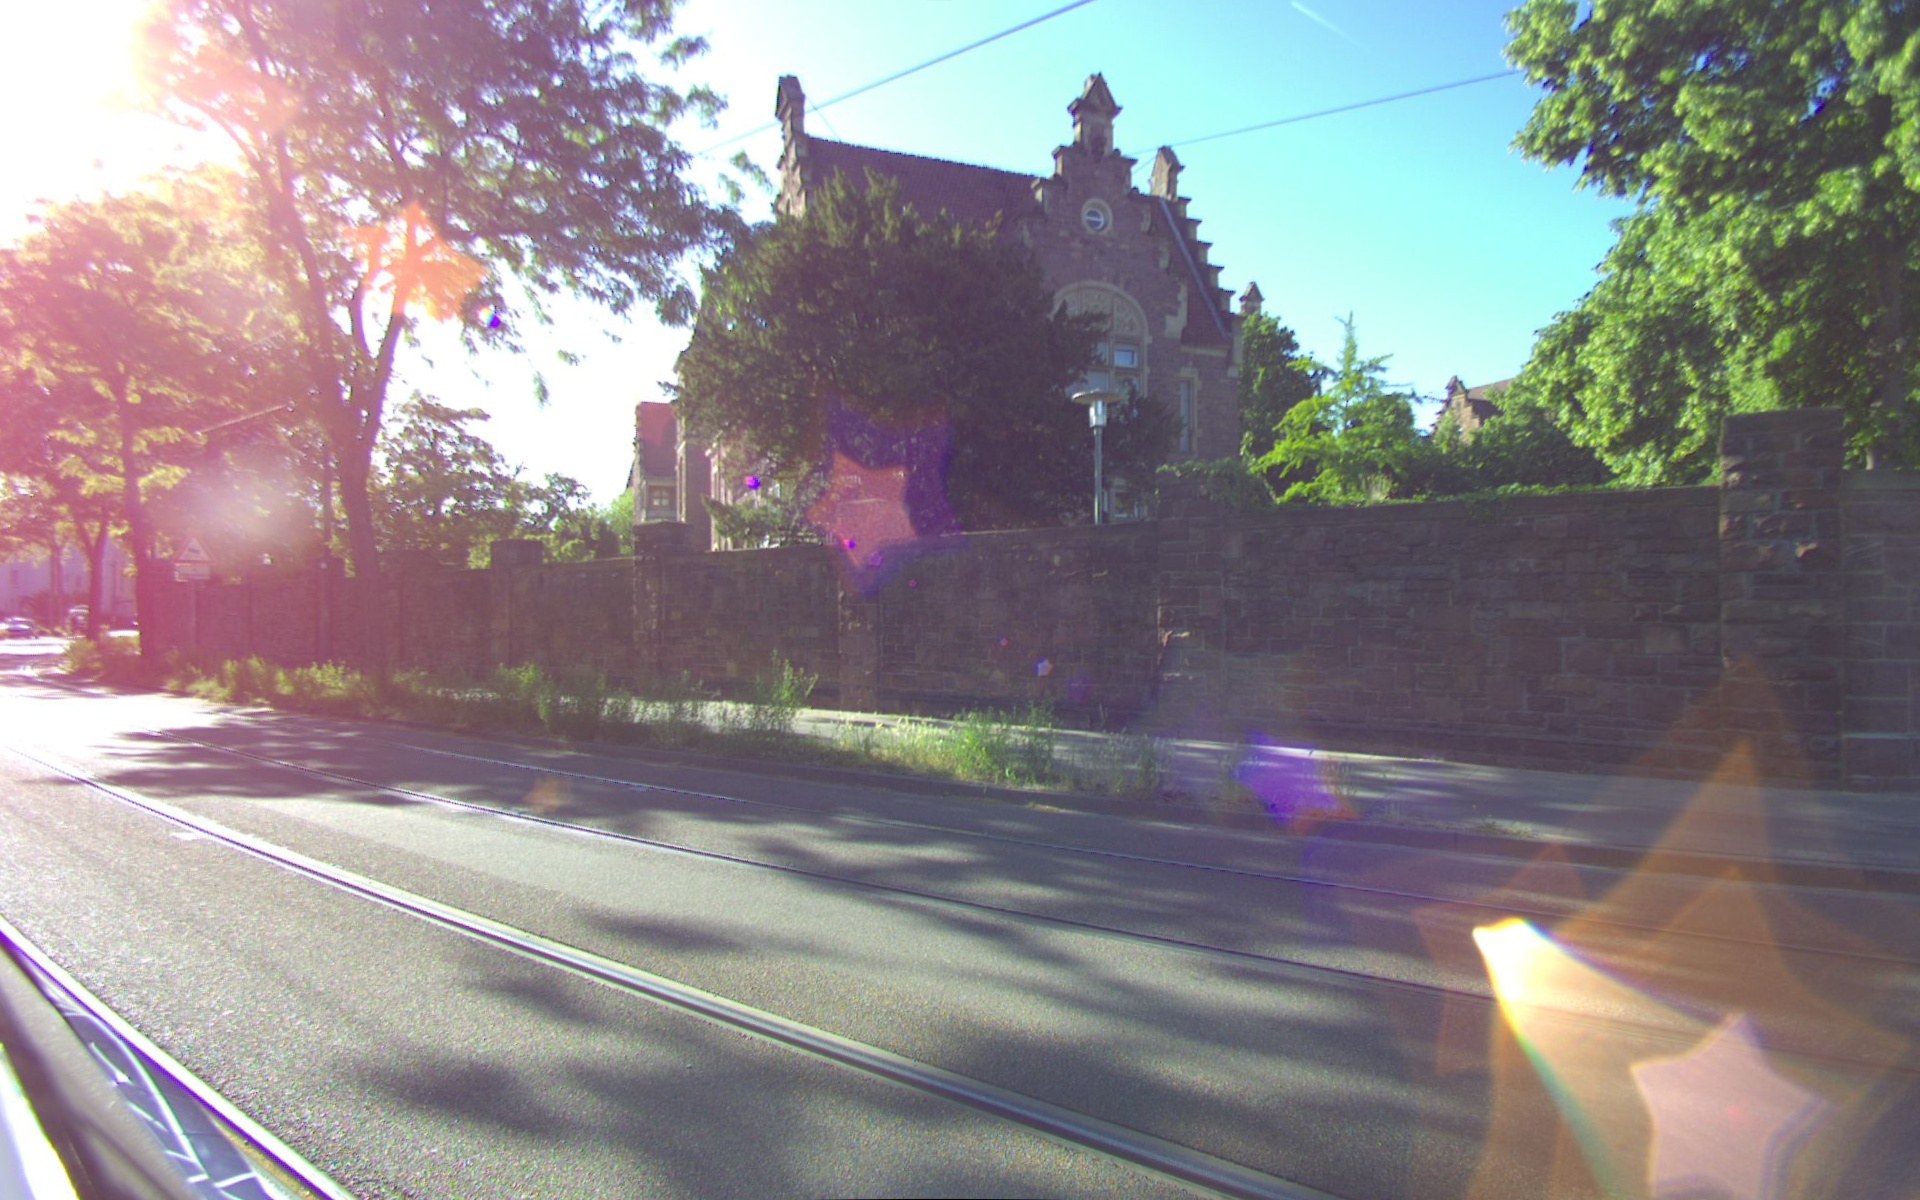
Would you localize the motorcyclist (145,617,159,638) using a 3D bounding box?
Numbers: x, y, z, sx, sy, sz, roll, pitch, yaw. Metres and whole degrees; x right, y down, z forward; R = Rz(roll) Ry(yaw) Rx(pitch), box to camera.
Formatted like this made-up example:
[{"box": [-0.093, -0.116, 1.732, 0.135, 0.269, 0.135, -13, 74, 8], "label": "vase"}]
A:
[{"box": [-55.457, 1.863, 69.466, 0.674, 1.451, 0.448, 0, -1, -32], "label": "motorcyclist"}]

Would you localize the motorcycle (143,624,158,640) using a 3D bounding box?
[{"box": [-55.404, 2.190, 69.297, 0.601, 1.101, 1.861, 0, -1, -32], "label": "motorcycle"}]
